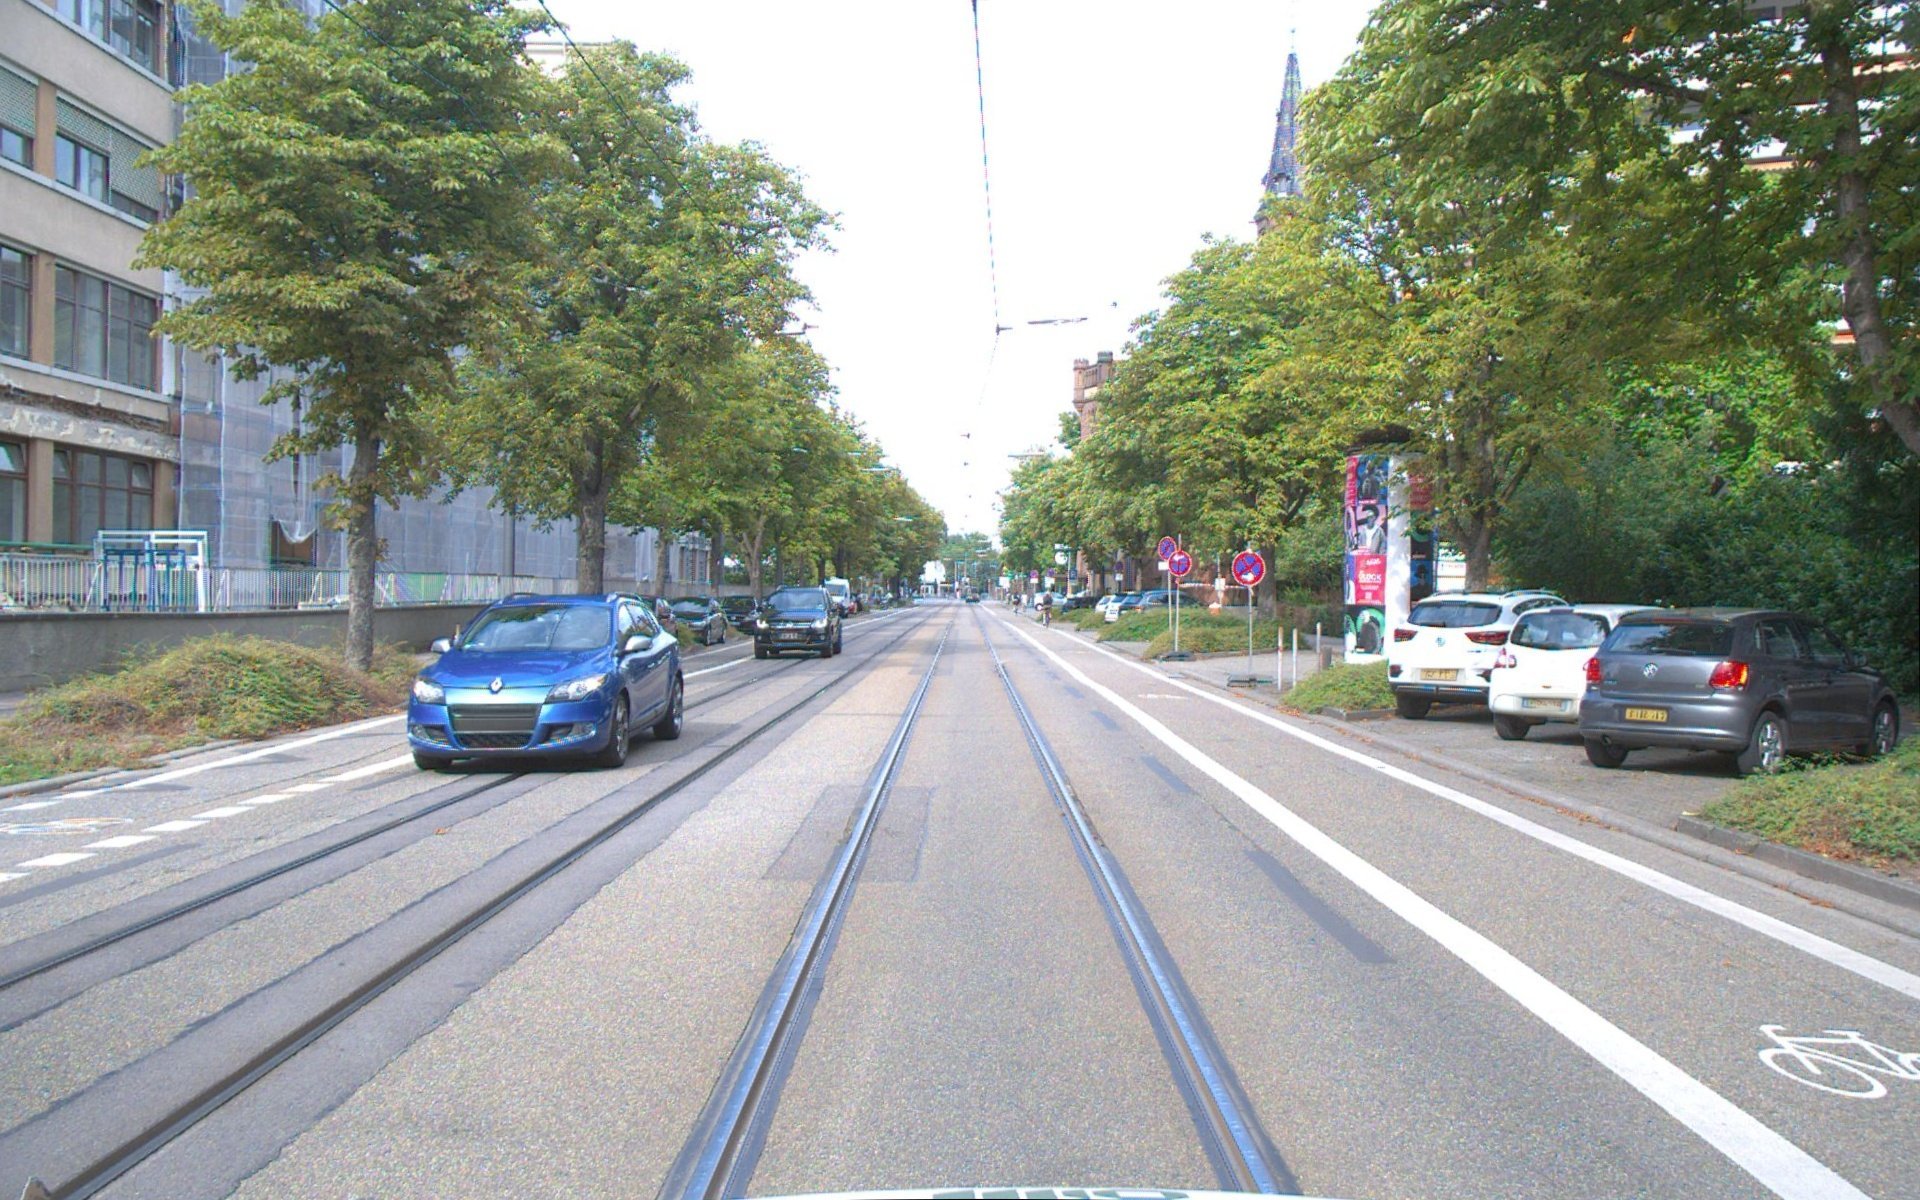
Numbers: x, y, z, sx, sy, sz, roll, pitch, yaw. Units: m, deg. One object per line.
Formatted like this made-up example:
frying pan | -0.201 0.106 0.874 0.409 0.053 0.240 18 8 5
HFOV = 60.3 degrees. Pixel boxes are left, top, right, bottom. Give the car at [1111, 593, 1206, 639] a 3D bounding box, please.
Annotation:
car | 7.321 0.581 60.844 1.654 1.630 3.621 0 0 44

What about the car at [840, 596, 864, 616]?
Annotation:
car | -7.663 0.415 117.979 1.558 1.427 3.961 1 0 -2

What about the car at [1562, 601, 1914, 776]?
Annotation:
car | 7.386 0.757 15.582 3.612 1.444 1.658 1 0 -40

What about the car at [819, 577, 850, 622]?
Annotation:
car | -7.980 -0.057 105.492 1.686 2.751 5.468 1 0 -2

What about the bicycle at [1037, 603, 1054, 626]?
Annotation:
bicycle | 3.931 0.661 76.325 0.581 1.062 1.977 1 0 -2

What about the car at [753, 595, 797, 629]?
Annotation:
car | -8.005 0.505 71.726 1.558 1.427 3.961 1 0 -2

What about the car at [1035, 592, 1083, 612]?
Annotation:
car | 8.629 0.165 143.946 3.909 1.722 1.998 1 0 -6

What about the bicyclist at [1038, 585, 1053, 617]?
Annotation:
bicyclist | 3.943 0.042 76.327 0.581 1.485 0.875 1 0 -2

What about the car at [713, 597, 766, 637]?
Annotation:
car | -8.161 0.601 61.425 1.558 1.427 3.961 1 0 -2

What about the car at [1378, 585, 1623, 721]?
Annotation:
car | 7.152 0.654 21.723 1.654 1.630 3.621 0 0 44

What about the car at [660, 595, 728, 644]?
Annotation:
car | -8.168 0.589 51.113 1.558 1.427 3.961 1 0 -2

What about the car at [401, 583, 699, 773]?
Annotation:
car | -3.650 0.609 15.511 1.696 1.522 4.378 0 1 0

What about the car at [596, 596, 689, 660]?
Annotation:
car | -7.989 0.668 41.915 1.602 1.522 3.962 1 0 -1

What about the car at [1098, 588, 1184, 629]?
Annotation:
car | 7.423 0.350 67.568 1.654 1.630 3.621 0 0 44

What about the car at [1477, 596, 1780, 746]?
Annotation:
car | 7.528 0.736 18.511 3.612 1.500 1.658 1 0 -40

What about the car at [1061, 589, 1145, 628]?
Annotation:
car | 6.043 0.365 69.700 1.654 1.630 3.621 0 0 44

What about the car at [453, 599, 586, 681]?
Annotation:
car | -8.241 0.711 31.253 1.558 1.427 3.961 1 0 -2

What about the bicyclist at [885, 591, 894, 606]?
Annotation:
bicyclist | -7.216 -0.164 169.667 0.828 1.531 0.769 1 0 8

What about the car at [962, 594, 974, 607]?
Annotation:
car | 1.269 0.107 252.701 1.758 1.855 4.678 1 0 -1

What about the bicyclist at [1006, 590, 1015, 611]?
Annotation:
bicyclist | 3.718 0.021 122.210 0.645 1.522 0.929 1 0 0

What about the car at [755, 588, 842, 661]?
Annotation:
car | -3.835 0.544 39.808 1.697 1.657 4.377 -1 0 -1
